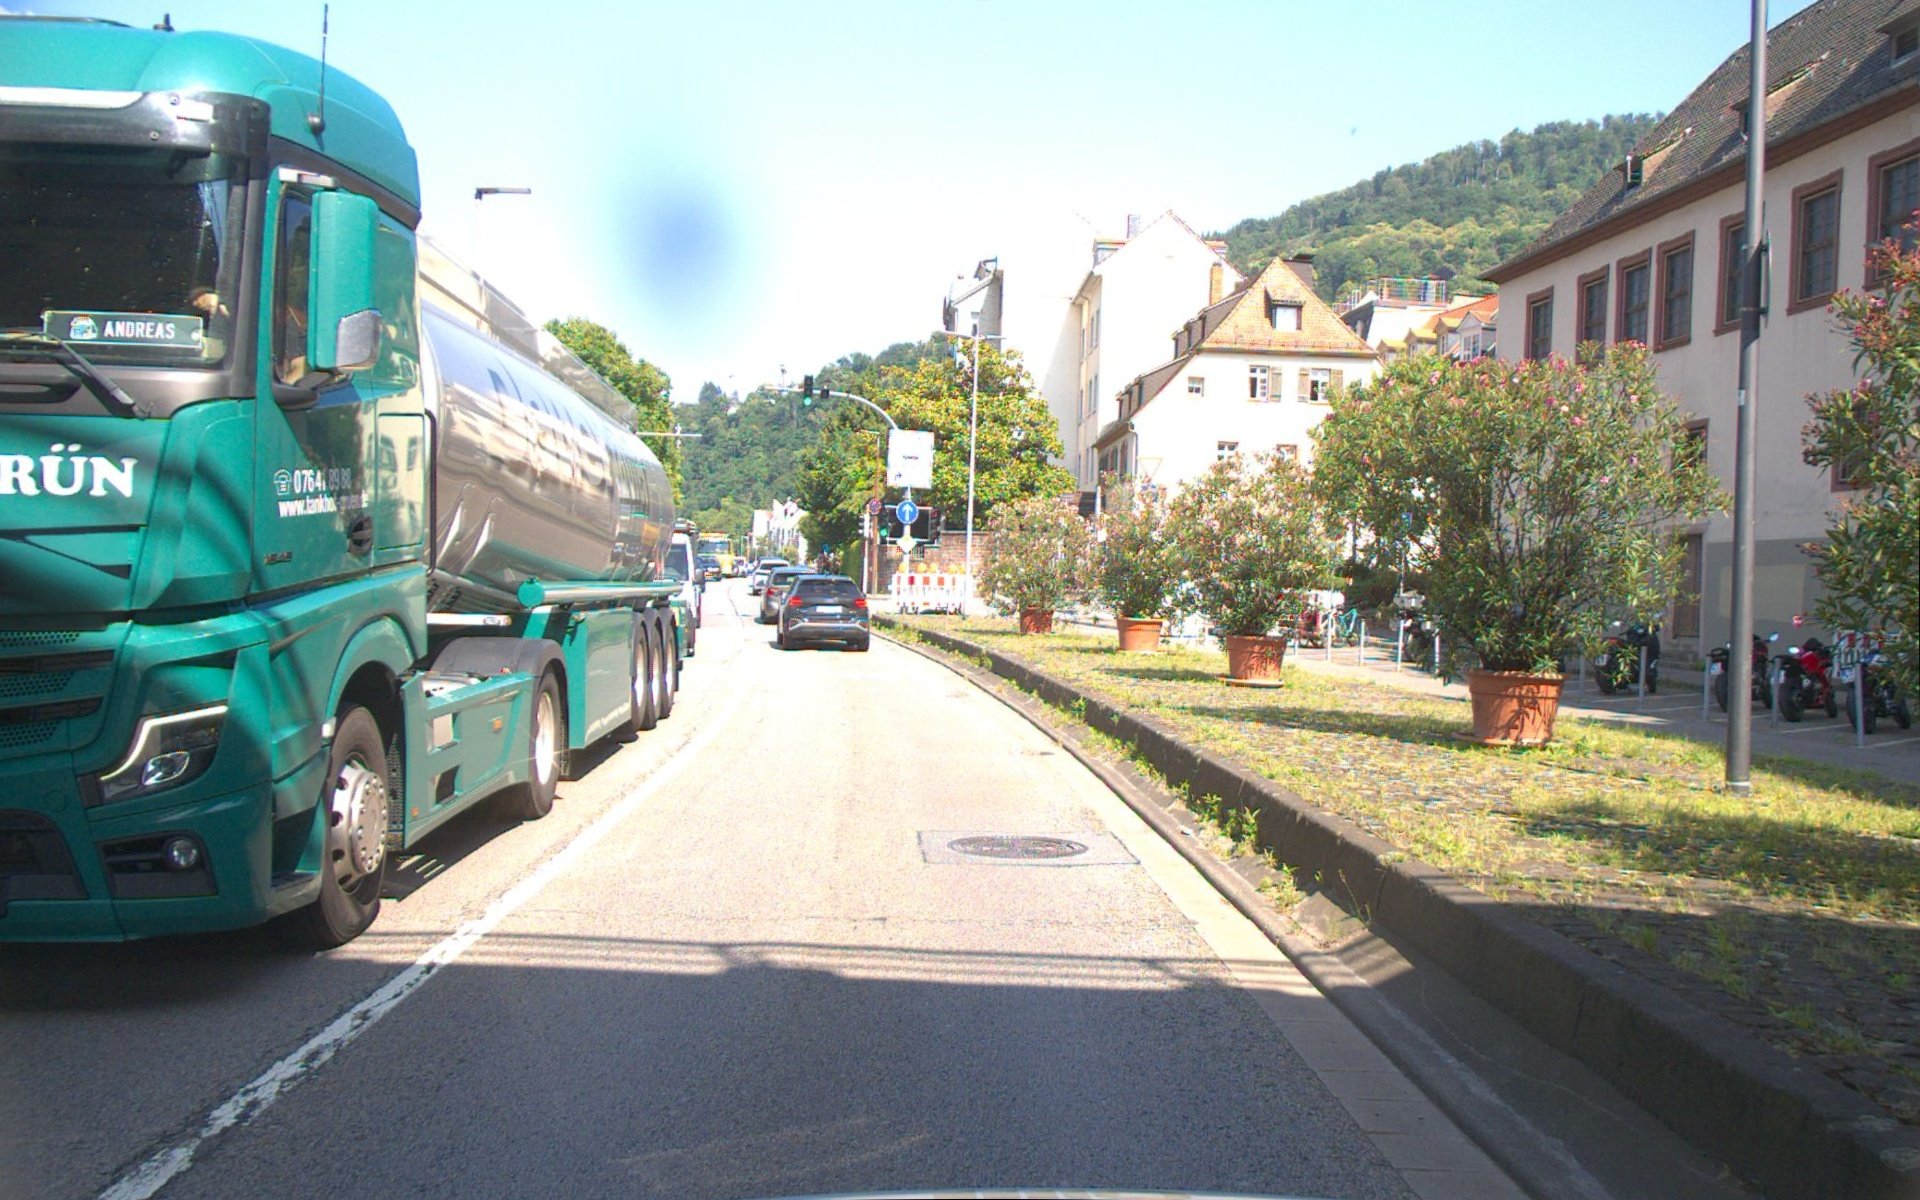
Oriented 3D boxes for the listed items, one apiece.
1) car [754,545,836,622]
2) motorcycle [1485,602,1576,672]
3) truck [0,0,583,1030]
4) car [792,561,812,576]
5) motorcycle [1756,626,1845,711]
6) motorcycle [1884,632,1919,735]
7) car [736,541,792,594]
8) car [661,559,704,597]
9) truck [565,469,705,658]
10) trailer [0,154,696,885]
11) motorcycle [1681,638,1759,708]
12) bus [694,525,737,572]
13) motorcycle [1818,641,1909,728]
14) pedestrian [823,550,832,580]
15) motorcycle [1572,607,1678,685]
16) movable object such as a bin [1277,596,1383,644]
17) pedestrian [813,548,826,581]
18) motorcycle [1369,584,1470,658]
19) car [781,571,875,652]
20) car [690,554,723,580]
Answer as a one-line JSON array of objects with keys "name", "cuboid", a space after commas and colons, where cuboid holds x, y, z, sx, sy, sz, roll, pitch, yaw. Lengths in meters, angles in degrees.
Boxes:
[{"name": "car", "cuboid": [-4.674, -0.435, 46.440, 1.957, 2.049, 3.990, 1, -1, -10]}, {"name": "motorcycle", "cuboid": [10.980, 0.708, 31.793, 2.177, 1.289, 0.619, 1, 1, -40]}, {"name": "truck", "cuboid": [-3.759, -0.558, 8.502, 2.473, 3.814, 6.243, 0, 1, -3]}, {"name": "car", "cuboid": [-16.636, -3.336, 174.096, 1.955, 1.478, 4.003, 1, 0, -6]}, {"name": "motorcycle", "cuboid": [12.474, 0.992, 24.514, 0.617, 1.168, 2.184, 2, 1, 42]}, {"name": "motorcycle", "cuboid": [12.768, 1.059, 21.407, 2.137, 1.254, 0.829, 0, 2, -45]}, {"name": "car", "cuboid": [-8.340, -1.362, 70.088, 1.958, 2.048, 3.990, 4, 0, -11]}, {"name": "car", "cuboid": [-12.281, -0.996, 73.101, 1.776, 1.534, 3.990, 2, 2, -11]}, {"name": "truck", "cuboid": [-6.348, -0.753, 33.139, 2.332, 3.318, 7.597, -1, 2, -9]}, {"name": "trailer", "cuboid": [-4.083, -0.490, 14.228, 2.474, 3.707, 11.523, 0, 1, -4]}, {"name": "motorcycle", "cuboid": [11.807, 1.113, 25.656, 0.538, 1.004, 1.920, 2, 1, 42]}, {"name": "bus", "cuboid": [-16.366, -3.459, 110.940, 2.547, 2.946, 8.436, 1, 2, -7]}, {"name": "motorcycle", "cuboid": [12.582, 1.149, 23.002, 0.617, 1.095, 2.184, 2, 1, 42]}, {"name": "pedestrian", "cuboid": [-7.294, -1.950, 91.352, 0.447, 1.634, 0.578, 1, 0, -7]}, {"name": "motorcycle", "cuboid": [11.631, 0.791, 28.909, 2.162, 1.289, 0.772, 1, 1, -40]}, {"name": "movable object such as a bin", "cuboid": [9.368, 0.490, 41.823, 2.934, 1.129, 1.238, 0, 2, -45]}, {"name": "pedestrian", "cuboid": [-7.626, -1.912, 89.882, 0.668, 1.773, 0.911, 1, 0, -7]}, {"name": "motorcycle", "cuboid": [10.276, 0.442, 36.935, 2.477, 1.559, 1.037, -1, 2, -43]}, {"name": "car", "cuboid": [-2.821, 0.189, 34.686, 1.821, 1.550, 3.995, 1, 1, -7]}, {"name": "car", "cuboid": [-14.439, -1.895, 94.098, 1.775, 1.430, 4.348, 1, 2, -9]}]
